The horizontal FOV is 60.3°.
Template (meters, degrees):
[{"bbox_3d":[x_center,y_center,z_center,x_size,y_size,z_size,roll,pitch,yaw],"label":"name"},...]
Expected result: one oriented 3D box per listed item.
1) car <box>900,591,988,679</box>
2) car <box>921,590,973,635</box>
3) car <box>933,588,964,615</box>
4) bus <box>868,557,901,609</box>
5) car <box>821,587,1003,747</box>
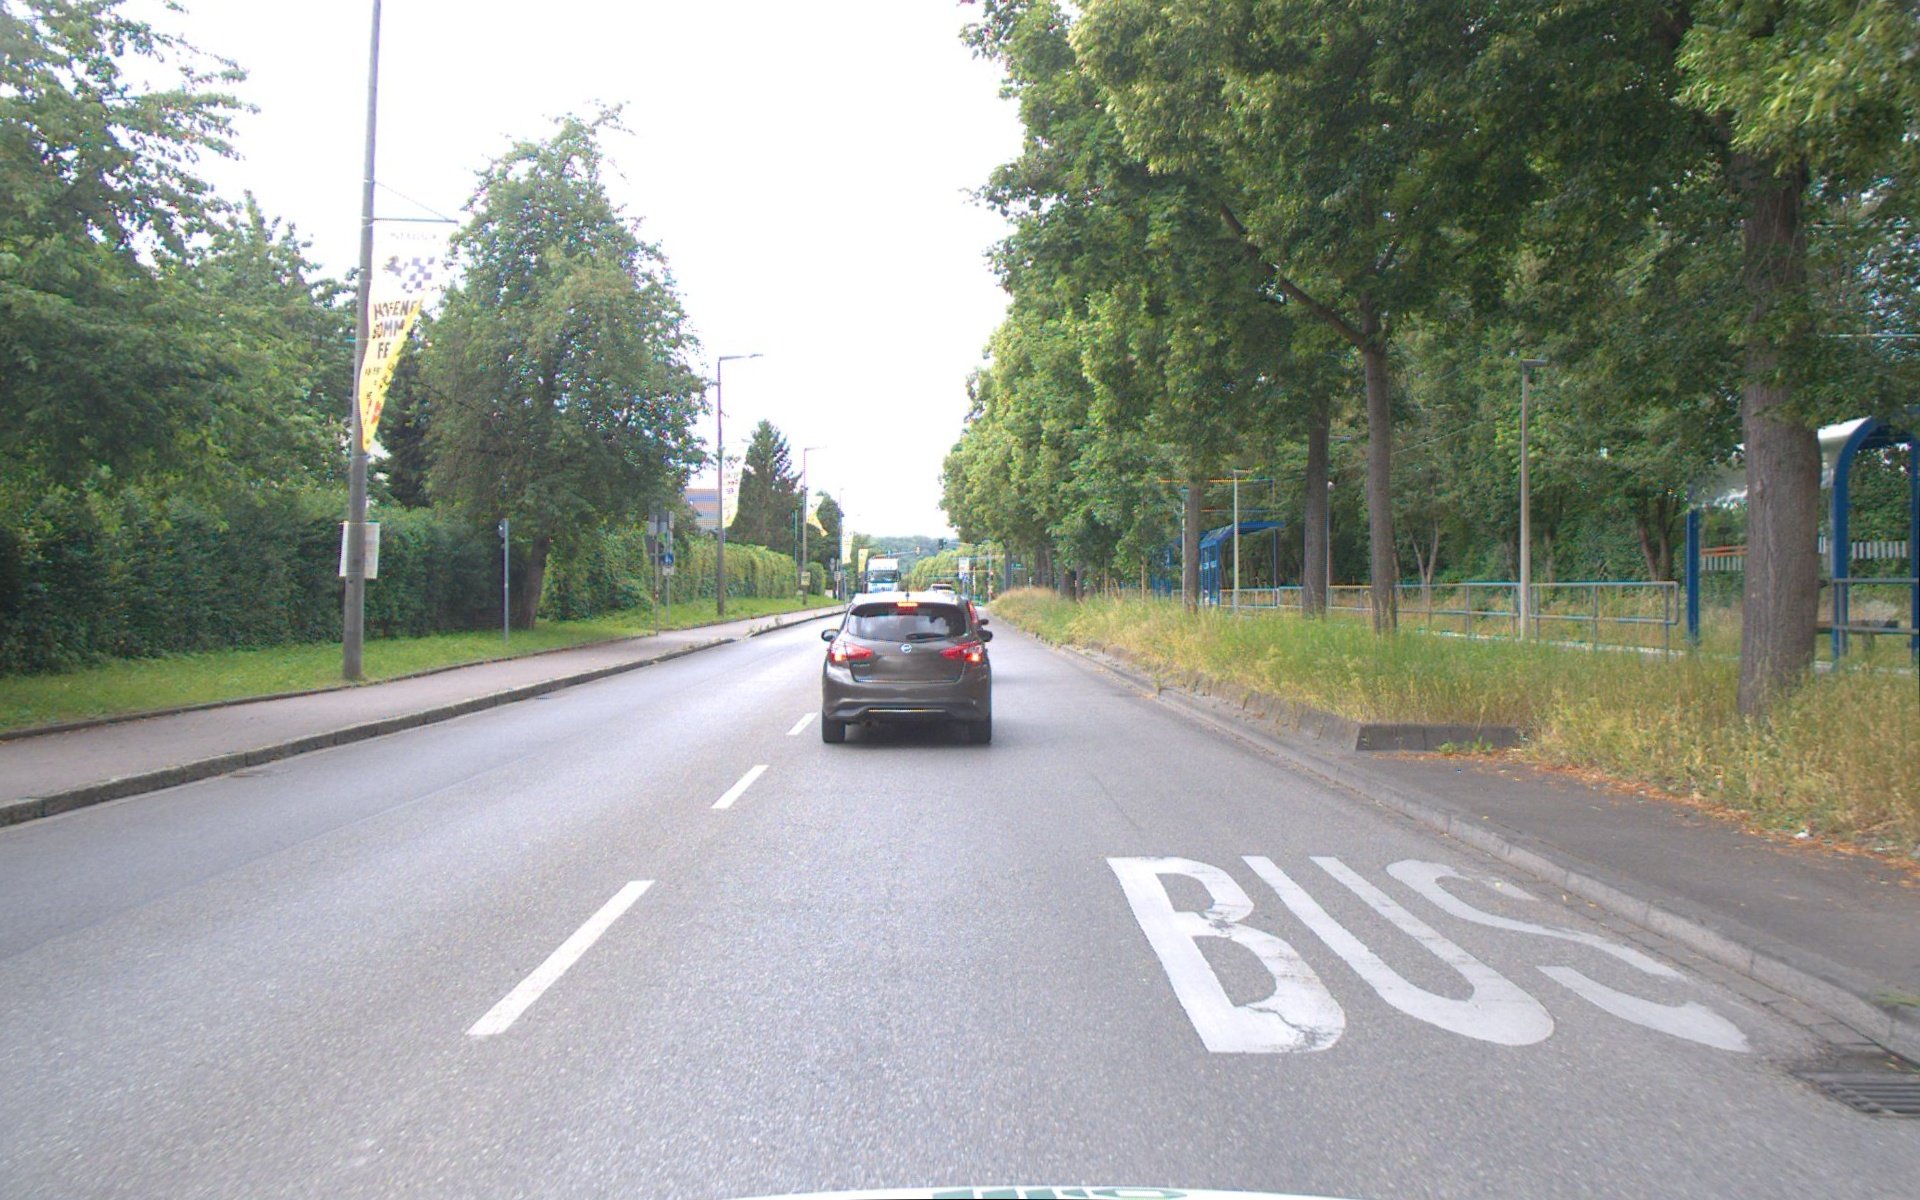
[{"bbox_3d":[-0.301,0.588,29.453,1.471,1.466,3.540,1,0,-1],"label":"car"},{"bbox_3d":[-0.460,0.412,55.424,1.657,1.466,3.540,1,0,-1],"label":"car"},{"bbox_3d":[-0.653,0.092,91.988,1.657,1.466,3.540,1,0,-1],"label":"car"},{"bbox_3d":[-6.230,-1.374,137.430,2.437,4.096,10.215,0,0,-1],"label":"bus"},{"bbox_3d":[-0.487,0.669,18.021,1.747,1.533,3.695,-1,0,-1],"label":"car"}]
